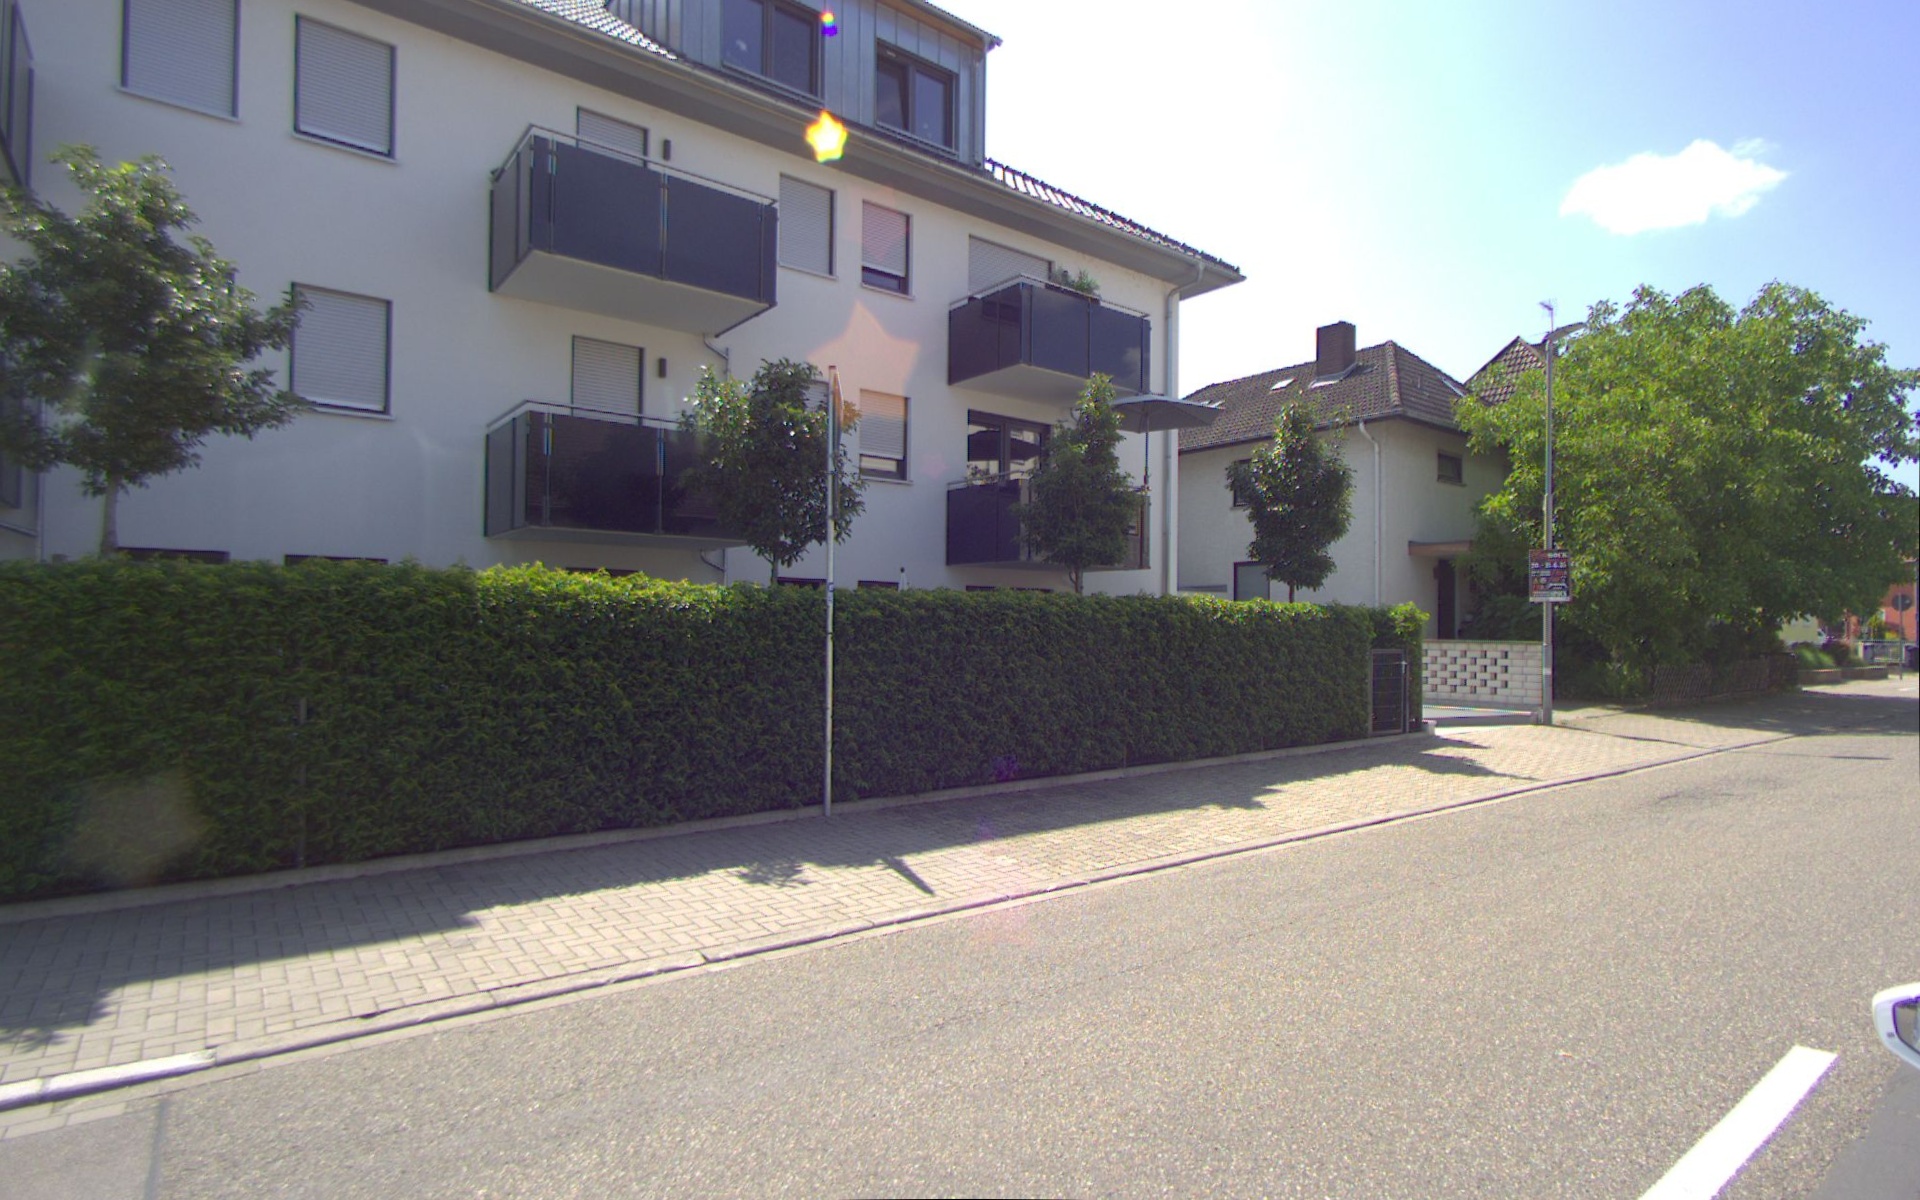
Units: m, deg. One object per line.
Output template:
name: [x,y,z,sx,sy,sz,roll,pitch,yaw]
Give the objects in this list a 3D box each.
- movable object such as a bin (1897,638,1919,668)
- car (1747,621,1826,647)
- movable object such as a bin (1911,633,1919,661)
movable object such as a bin: [40.594,2.269,42.769,0.893,1.241,0.879,2,-1,-35]
car: [58.145,2.396,70.707,4.176,1.508,1.746,3,2,-5]
movable object such as a bin: [43.158,2.104,44.917,0.830,1.229,1.271,1,-1,40]
